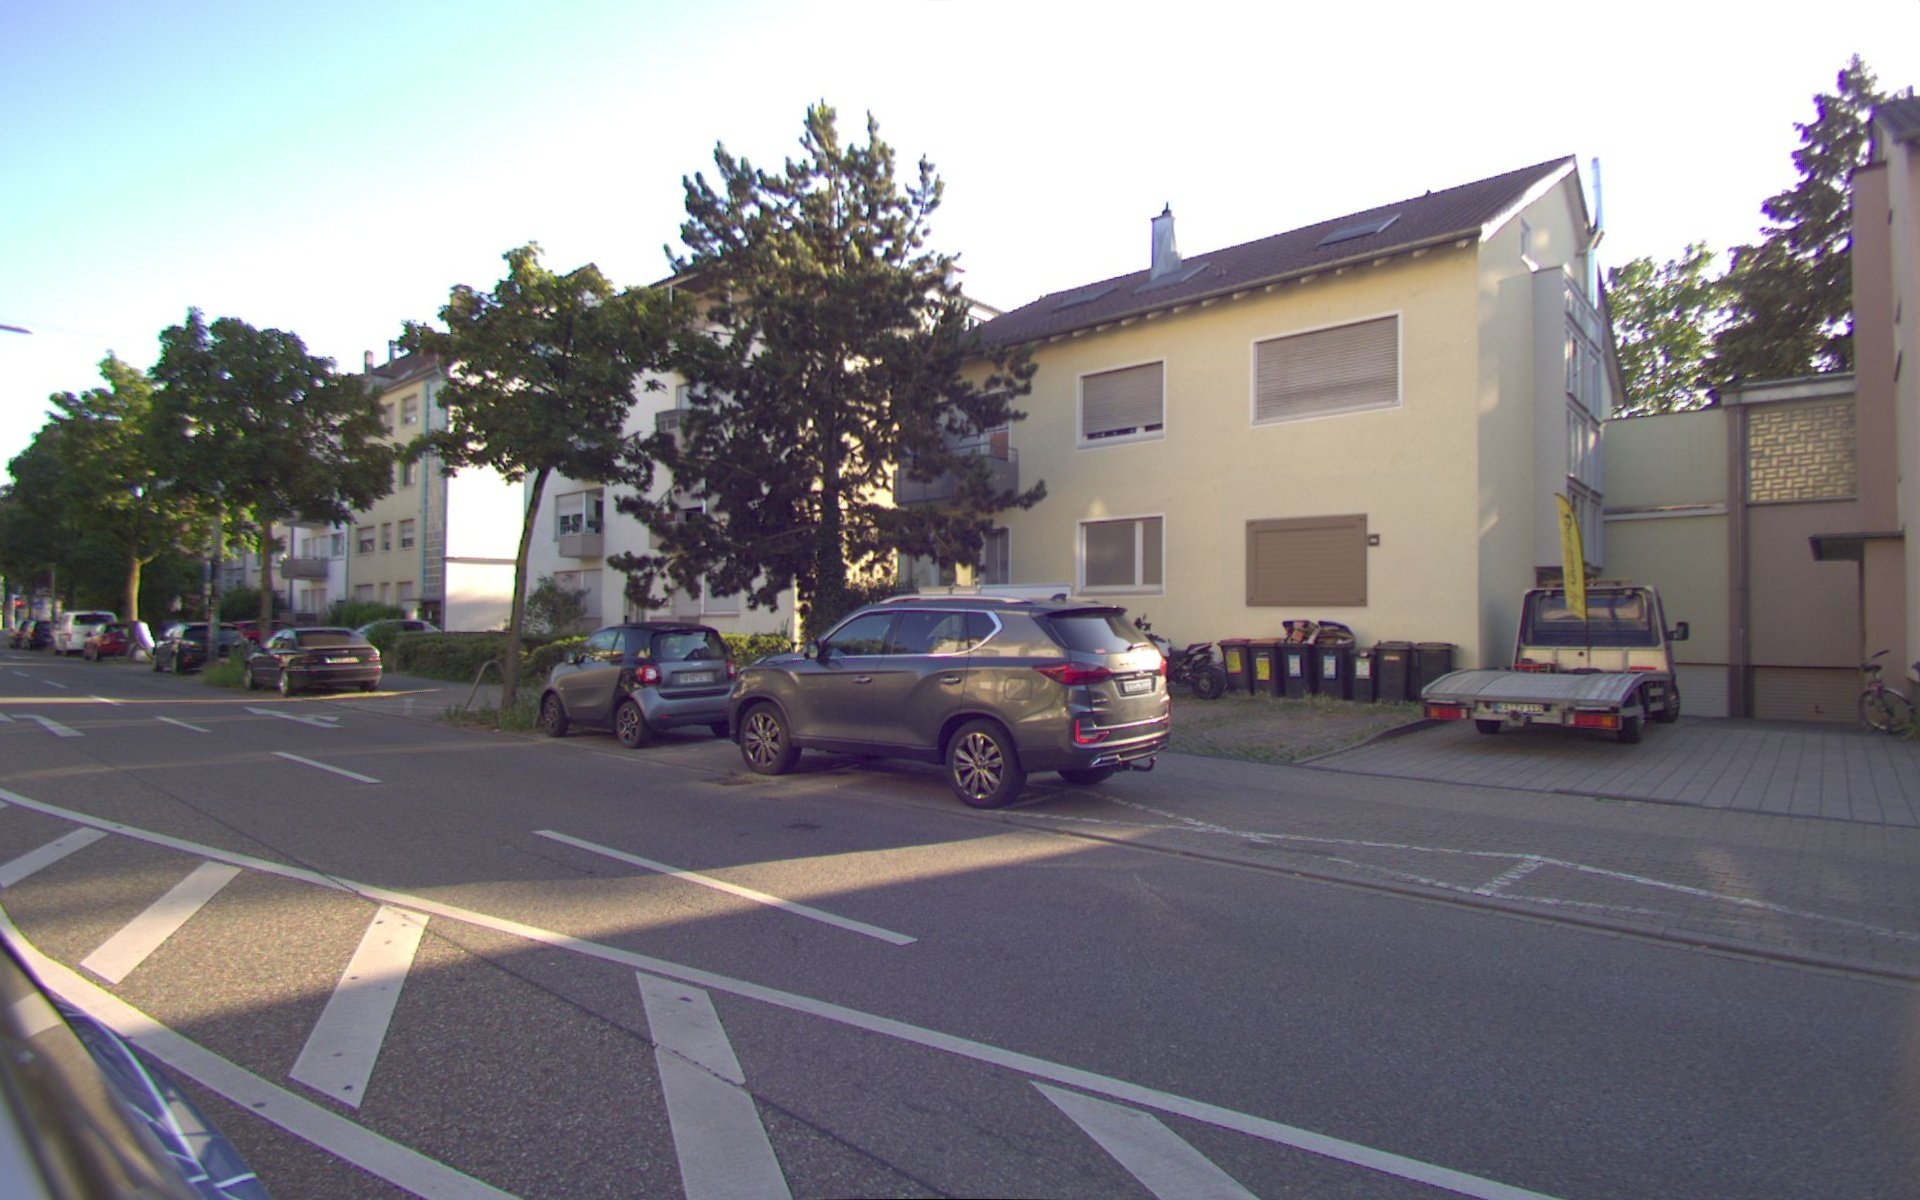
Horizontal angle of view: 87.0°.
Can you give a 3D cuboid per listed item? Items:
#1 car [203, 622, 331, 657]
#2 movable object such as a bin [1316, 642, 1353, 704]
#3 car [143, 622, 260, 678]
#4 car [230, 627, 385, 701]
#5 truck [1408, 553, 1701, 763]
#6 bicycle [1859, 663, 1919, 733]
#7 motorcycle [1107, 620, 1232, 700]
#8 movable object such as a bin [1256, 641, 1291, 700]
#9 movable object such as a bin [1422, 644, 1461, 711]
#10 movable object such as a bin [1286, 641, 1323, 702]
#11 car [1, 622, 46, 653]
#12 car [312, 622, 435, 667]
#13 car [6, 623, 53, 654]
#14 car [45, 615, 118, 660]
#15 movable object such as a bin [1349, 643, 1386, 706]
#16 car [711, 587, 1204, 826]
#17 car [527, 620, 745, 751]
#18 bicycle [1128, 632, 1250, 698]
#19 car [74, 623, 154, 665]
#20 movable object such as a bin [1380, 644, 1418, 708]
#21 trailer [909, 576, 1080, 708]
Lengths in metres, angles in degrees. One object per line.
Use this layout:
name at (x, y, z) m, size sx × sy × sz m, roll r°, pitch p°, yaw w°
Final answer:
car at (-31.314, 1.760, 45.869) m, size 1.735 × 1.416 × 4.515 m, roll -1°, pitch 0°, yaw 31°
movable object such as a bin at (6.394, 1.235, 17.270) m, size 0.450 × 1.026 × 0.497 m, roll -1°, pitch -3°, yaw 40°
car at (-21.914, 1.415, 29.196) m, size 3.997 × 1.497 × 1.838 m, roll -1°, pitch -3°, yaw 40°
car at (-14.181, 1.312, 21.905) m, size 4.441 × 1.418 × 1.620 m, roll -1°, pitch -2°, yaw 41°
truck at (8.448, 0.721, 13.941) m, size 2.275 × 2.202 × 6.822 m, roll -1°, pitch -2°, yaw 41°
bicycle at (13.323, 1.406, 14.504) m, size 0.590 × 0.938 × 1.577 m, roll -1°, pitch -6°, yaw 43°
motorcycle at (3.790, 1.059, 18.445) m, size 2.257 × 1.384 × 0.564 m, roll -1°, pitch -3°, yaw 41°
movable object such as a bin at (5.594, 1.250, 18.062) m, size 0.450 × 1.026 × 0.497 m, roll -1°, pitch -3°, yaw 40°
movable object such as a bin at (7.688, 1.226, 16.152) m, size 0.450 × 1.026 × 0.497 m, roll -1°, pitch -3°, yaw 40°
movable object such as a bin at (6.018, 1.242, 17.675) m, size 0.450 × 1.026 × 0.497 m, roll -1°, pitch -3°, yaw 40°
car at (-48.211, 1.908, 52.080) m, size 3.682 × 1.475 × 1.388 m, roll -1°, pitch 0°, yaw 43°
car at (-20.941, 1.569, 36.205) m, size 1.686 × 1.535 × 3.422 m, roll -1°, pitch -3°, yaw 42°
car at (-45.364, 1.833, 49.316) m, size 3.682 × 1.416 × 1.388 m, roll -1°, pitch 0°, yaw 43°
car at (-36.669, 1.541, 42.226) m, size 4.190 × 1.823 × 1.717 m, roll -1°, pitch -2°, yaw 41°
movable object such as a bin at (6.804, 1.237, 16.899) m, size 0.450 × 1.026 × 0.497 m, roll -1°, pitch -3°, yaw 40°
car at (-0.213, 0.852, 9.841) m, size 4.723 × 1.793 × 1.868 m, roll -1°, pitch -2°, yaw 40°
car at (-4.370, 1.059, 13.579) m, size 2.747 × 1.567 × 1.557 m, roll -1°, pitch -2°, yaw 40°
bicycle at (4.281, 1.195, 19.080) m, size 2.257 × 1.149 × 0.564 m, roll -1°, pitch -2°, yaw 41°
car at (-31.436, 1.608, 37.569) m, size 3.634 × 1.475 × 1.717 m, roll -1°, pitch -2°, yaw 41°
movable object such as a bin at (7.176, 1.235, 16.549) m, size 0.450 × 1.026 × 0.497 m, roll -1°, pitch -3°, yaw 40°
trailer at (0.633, 0.694, 17.029) m, size 1.551 × 2.029 × 2.745 m, roll -1°, pitch -3°, yaw 39°
